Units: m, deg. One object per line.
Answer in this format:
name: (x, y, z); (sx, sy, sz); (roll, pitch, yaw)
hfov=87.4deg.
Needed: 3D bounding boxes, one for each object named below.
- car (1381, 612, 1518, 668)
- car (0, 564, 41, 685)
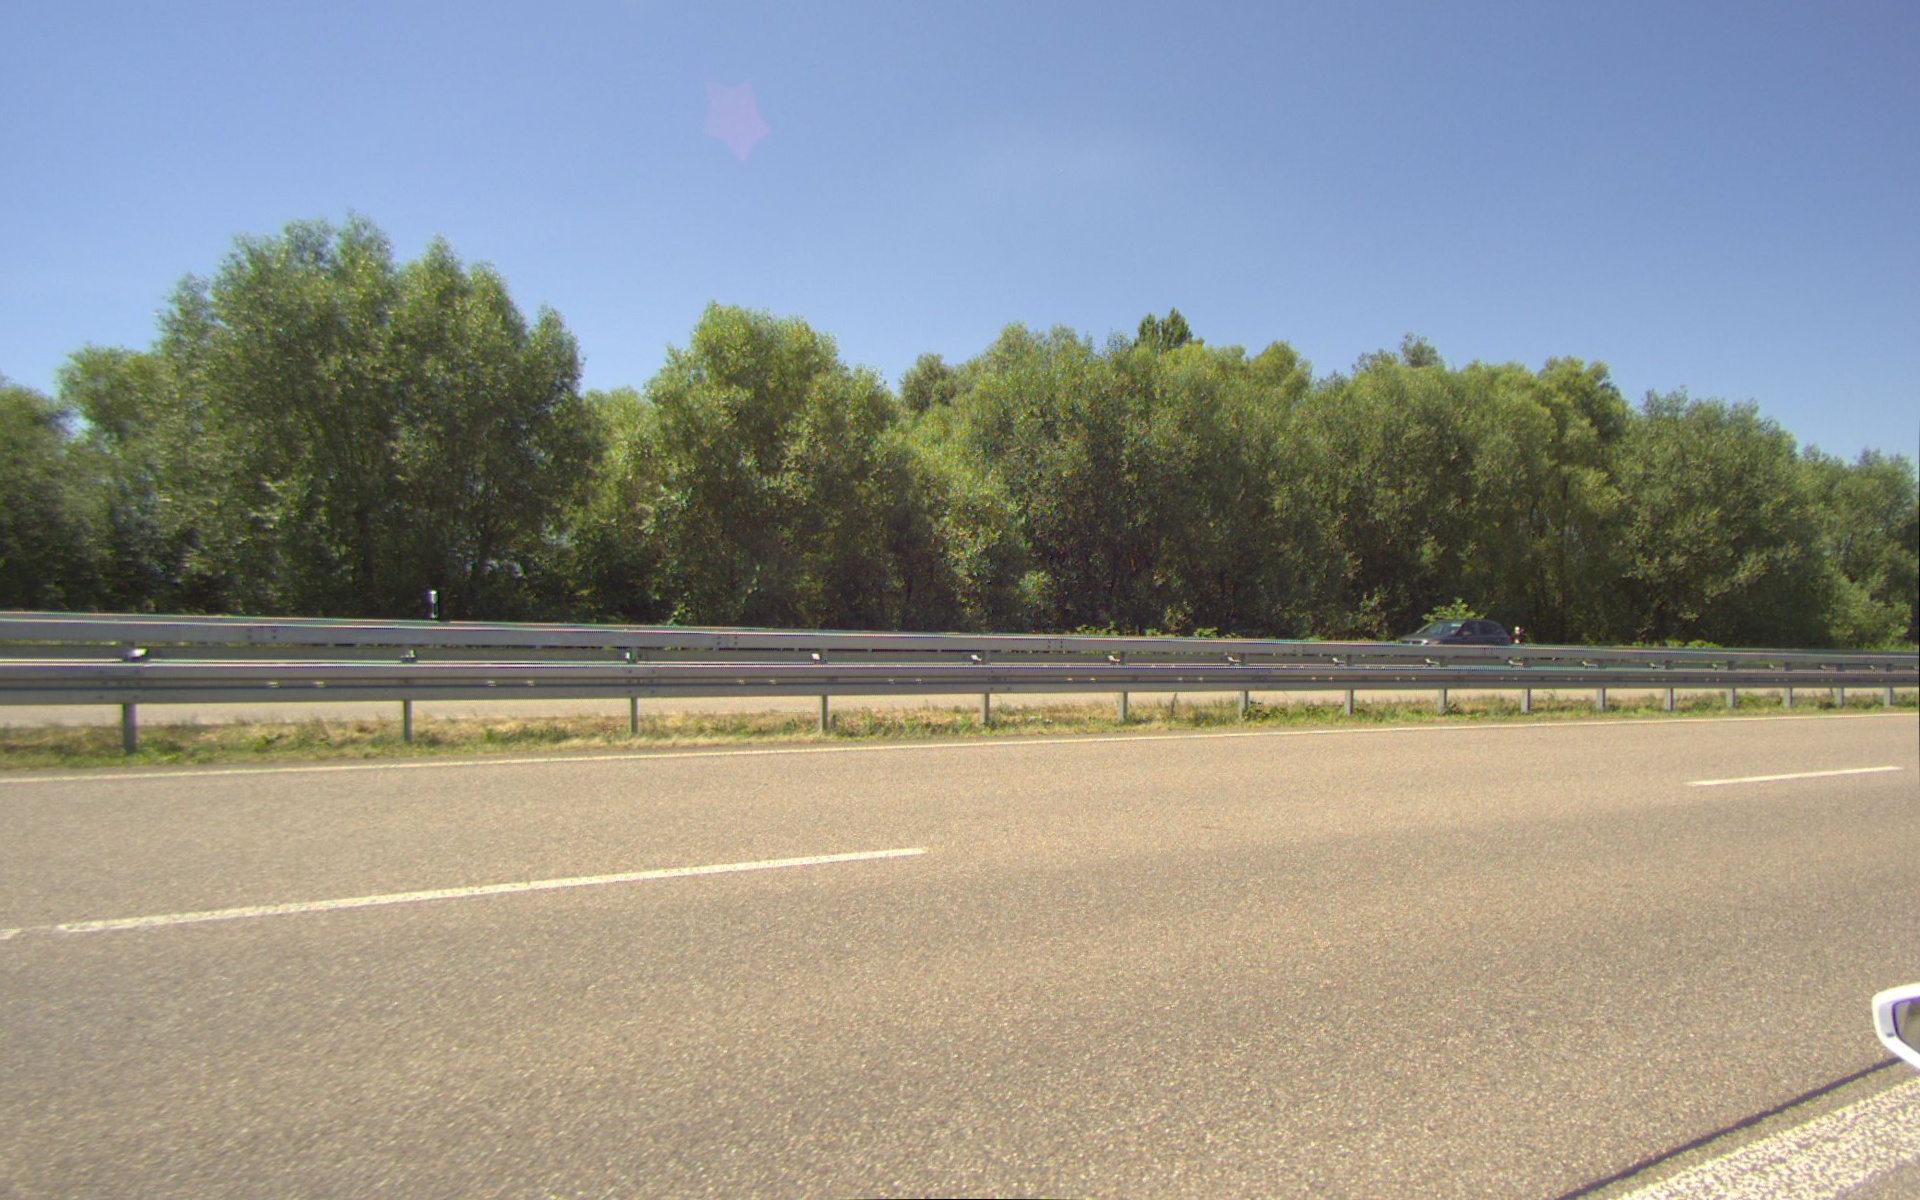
car: (15.053, 1.239, 30.875); (4.022, 1.572, 1.683); (2, 0, -27)
car: (-14.048, 0.239, 12.158); (3.949, 1.524, 1.703); (2, 0, -27)
